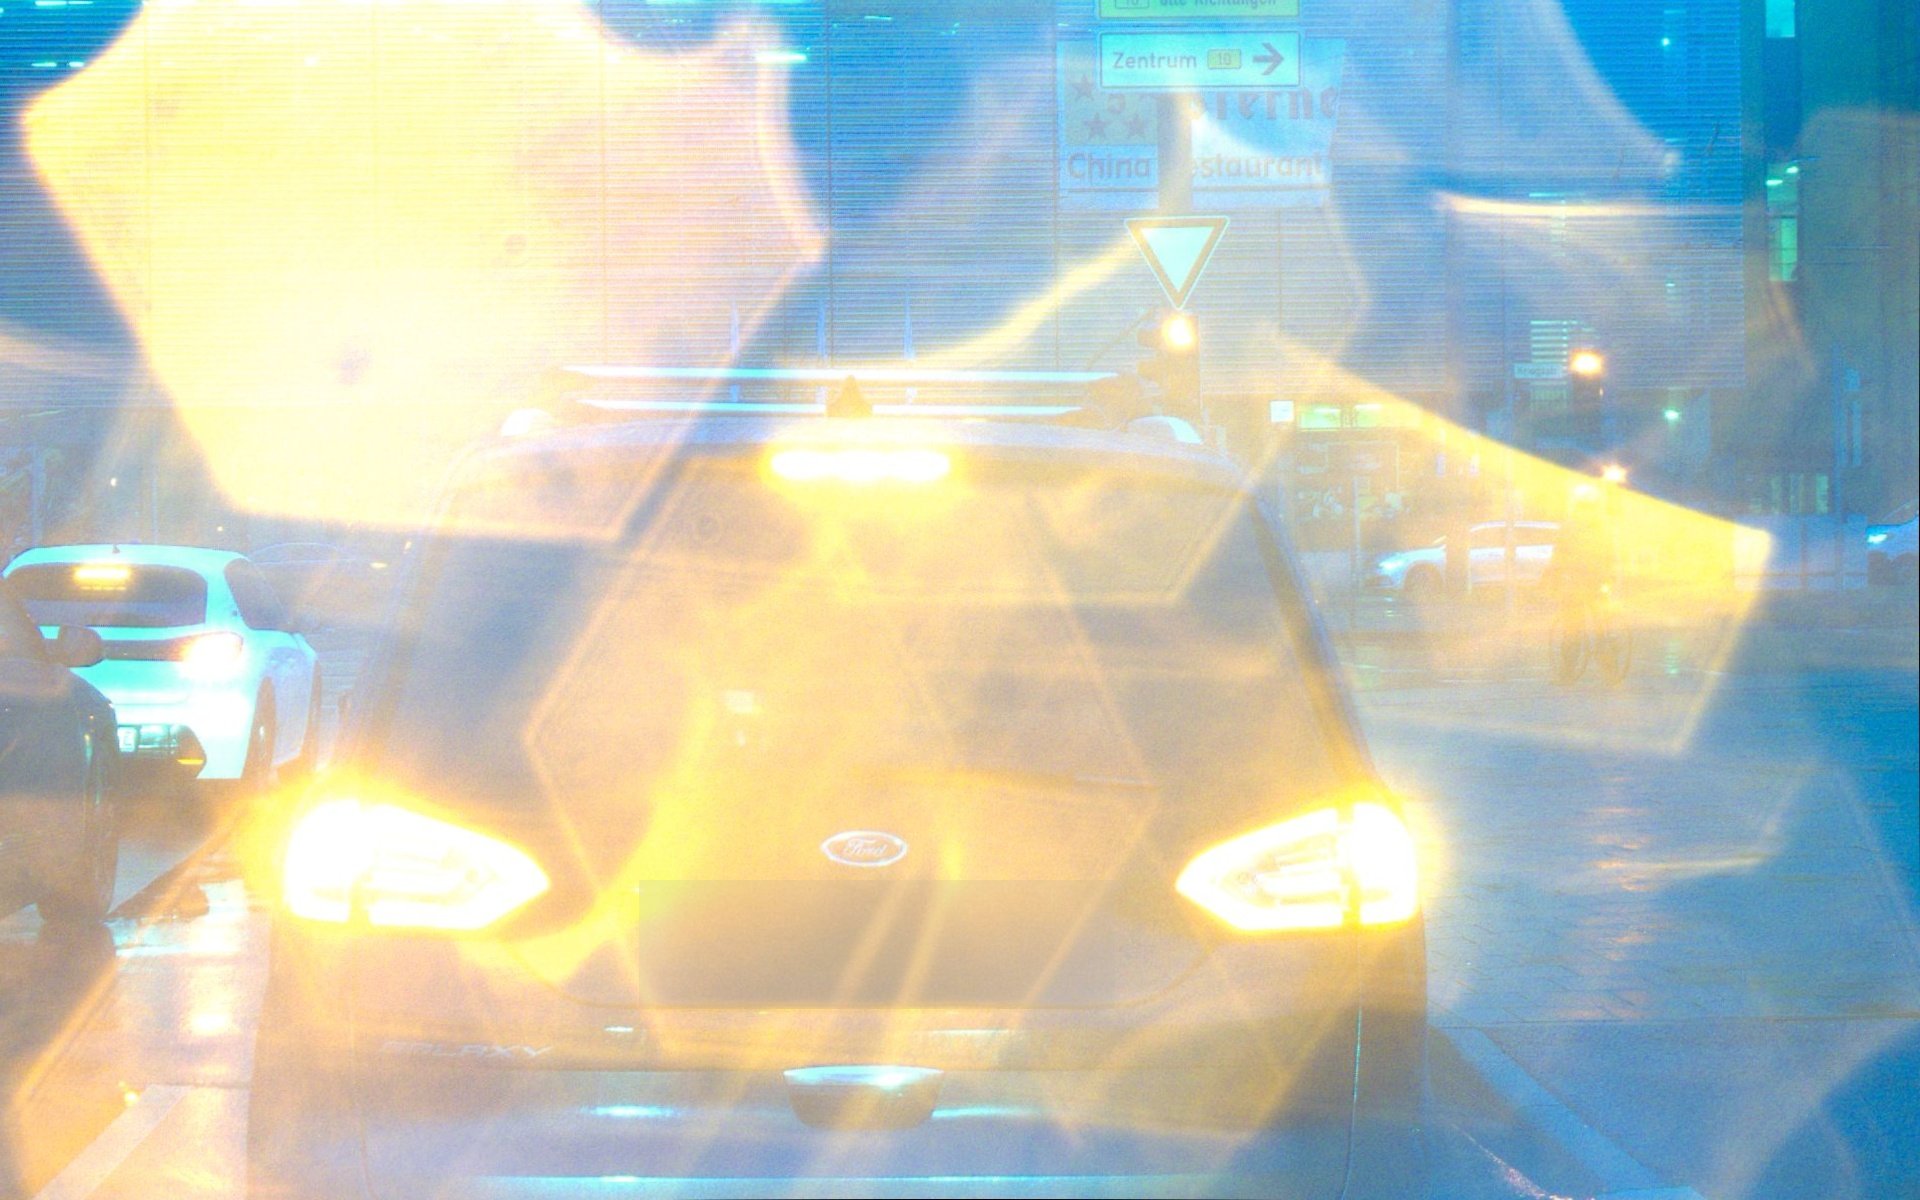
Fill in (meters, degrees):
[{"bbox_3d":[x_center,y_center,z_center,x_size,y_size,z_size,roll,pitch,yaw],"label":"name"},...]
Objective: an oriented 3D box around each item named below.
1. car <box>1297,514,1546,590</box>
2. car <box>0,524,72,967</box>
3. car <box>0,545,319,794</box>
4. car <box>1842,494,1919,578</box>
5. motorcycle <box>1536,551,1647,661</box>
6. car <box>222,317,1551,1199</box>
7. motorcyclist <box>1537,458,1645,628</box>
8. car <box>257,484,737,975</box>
[{"bbox_3d":[8.854,-0.936,66.165,4.418,1.385,1.800,-1,1,-7],"label":"car"},{"bbox_3d":[-4.234,0.533,11.526,1.752,1.568,4.001,-1,1,-4],"label":"car"},{"bbox_3d":[-4.503,0.319,19.450,1.540,1.247,4.069,0,1,-8],"label":"car"},{"bbox_3d":[19.631,-1.263,66.863,4.418,1.589,1.800,-1,1,-7],"label":"car"},{"bbox_3d":[5.799,0.044,31.647,0.853,0.968,1.581,0,1,5],"label":"motorcycle"},{"bbox_3d":[-0.205,0.471,6.706,1.735,1.732,4.247,2,1,-3],"label":"car"},{"bbox_3d":[5.799,-0.529,31.652,0.868,1.529,1.108,0,1,5],"label":"motorcyclist"},{"bbox_3d":[-1.755,0.425,13.726,1.636,1.691,3.671,1,1,-5],"label":"car"}]
